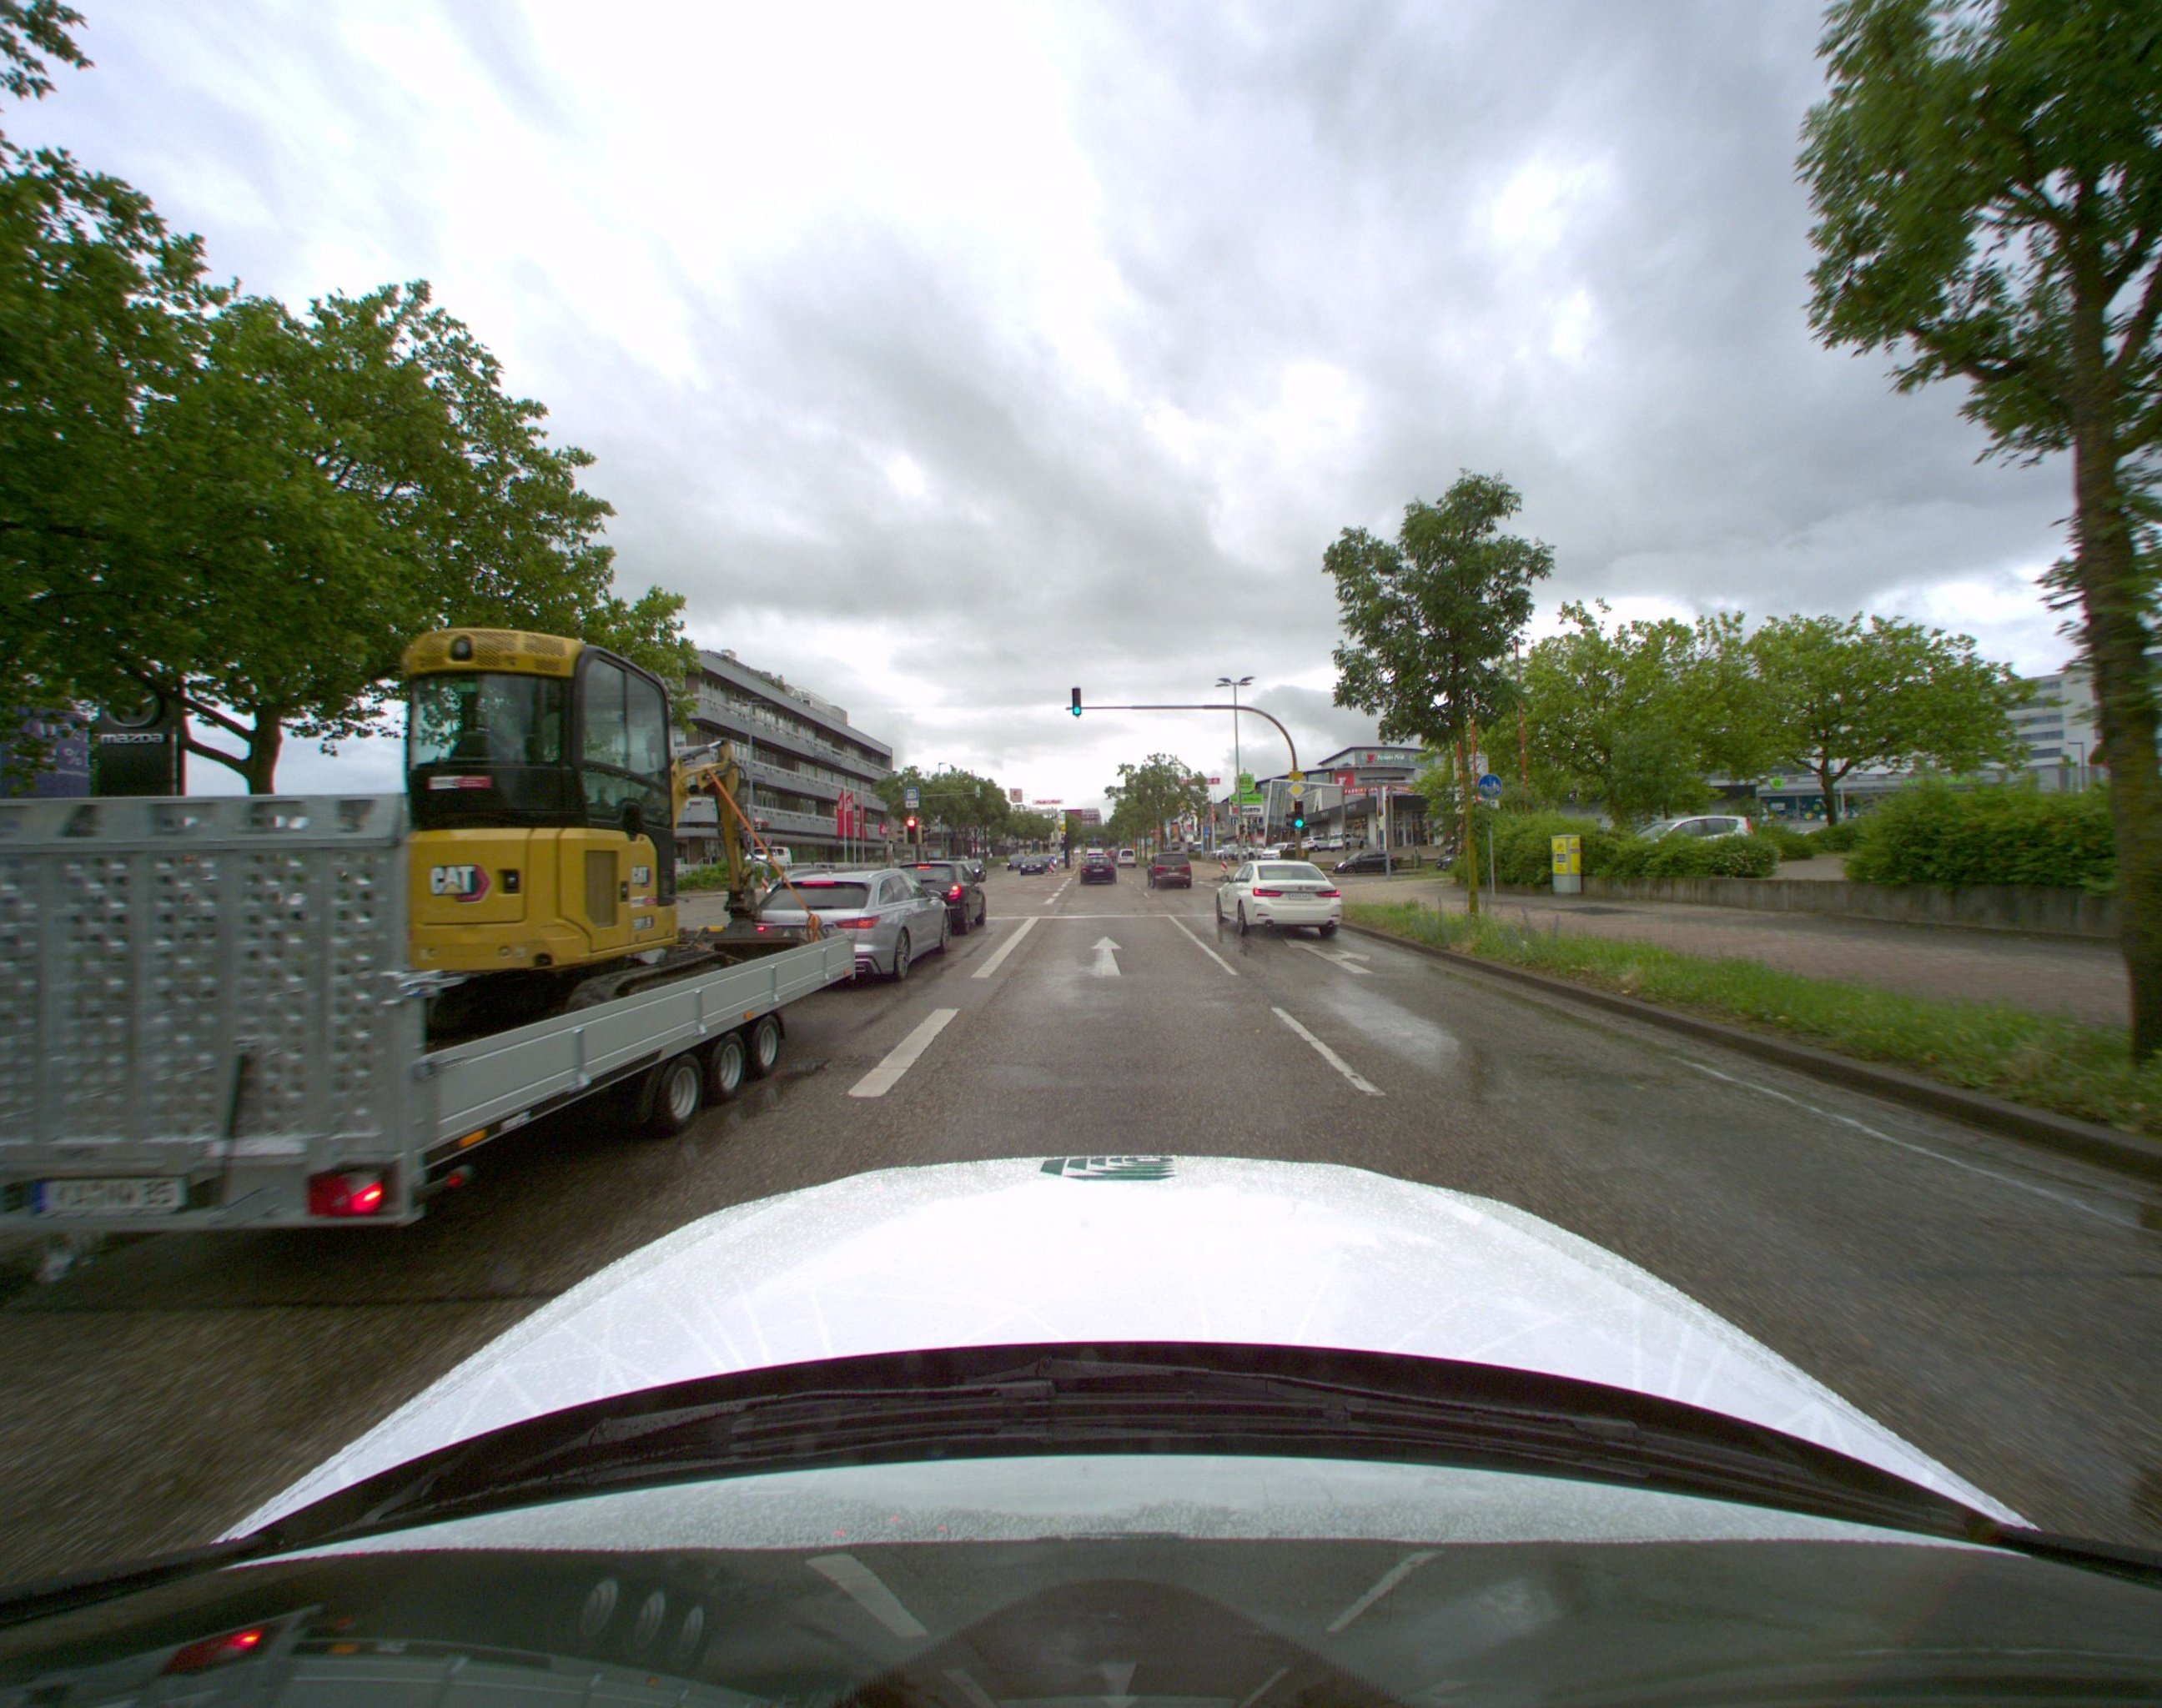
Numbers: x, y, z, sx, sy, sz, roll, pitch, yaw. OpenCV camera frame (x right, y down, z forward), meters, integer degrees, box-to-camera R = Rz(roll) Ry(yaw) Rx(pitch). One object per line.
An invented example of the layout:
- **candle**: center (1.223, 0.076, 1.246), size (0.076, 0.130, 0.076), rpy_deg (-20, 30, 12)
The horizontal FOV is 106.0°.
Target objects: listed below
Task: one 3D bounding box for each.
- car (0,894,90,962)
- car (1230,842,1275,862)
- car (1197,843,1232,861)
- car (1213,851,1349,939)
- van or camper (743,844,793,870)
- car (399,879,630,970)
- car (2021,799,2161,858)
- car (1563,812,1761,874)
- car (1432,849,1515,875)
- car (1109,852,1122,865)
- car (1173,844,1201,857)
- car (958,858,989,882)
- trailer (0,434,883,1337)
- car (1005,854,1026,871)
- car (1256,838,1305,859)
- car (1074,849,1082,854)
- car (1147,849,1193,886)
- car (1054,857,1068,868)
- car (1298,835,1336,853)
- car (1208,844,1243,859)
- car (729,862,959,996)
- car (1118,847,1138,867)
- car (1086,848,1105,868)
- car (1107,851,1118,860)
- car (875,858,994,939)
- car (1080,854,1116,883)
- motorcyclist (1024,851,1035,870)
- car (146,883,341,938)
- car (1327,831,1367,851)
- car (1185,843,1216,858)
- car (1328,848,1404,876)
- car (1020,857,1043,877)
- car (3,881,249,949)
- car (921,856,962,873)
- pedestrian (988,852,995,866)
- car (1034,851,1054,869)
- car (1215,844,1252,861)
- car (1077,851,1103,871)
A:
- **car**: center (-25.182, 1.703, 18.213), size (3.732, 1.391, 1.688), rpy_deg (-2, 0, -4)
- **car**: center (16.306, -0.184, 77.374), size (4.047, 1.662, 1.960), rpy_deg (-4, 1, -38)
- **car**: center (16.662, -0.205, 101.464), size (4.094, 2.105, 1.801), rpy_deg (-1, 0, 2)
- **car**: center (3.909, 0.744, 16.702), size (1.794, 1.544, 4.621), rpy_deg (0, 0, 2)
- **van or camper**: center (-24.243, 0.245, 63.267), size (1.986, 1.967, 4.789), rpy_deg (0, -1, 1)
- **car**: center (-11.216, 1.314, 16.554), size (1.705, 1.383, 4.173), rpy_deg (-4, 0, -1)
- **car**: center (28.283, -0.699, 21.729), size (3.970, 1.442, 2.002), rpy_deg (-2, 0, 3)
- **car**: center (15.232, -0.277, 21.516), size (3.970, 1.442, 1.657), rpy_deg (-2, 0, 3)
- **car**: center (23.354, 0.489, 48.552), size (4.119, 1.548, 1.741), rpy_deg (0, -1, 6)
- **car**: center (4.463, 0.600, 106.824), size (1.678, 1.684, 3.404), rpy_deg (0, -1, 2)
- **car**: center (15.676, -0.529, 120.862), size (4.089, 1.703, 1.803), rpy_deg (-1, 0, 7)
- **car**: center (-7.374, 1.067, 56.197), size (1.706, 1.580, 3.997), rpy_deg (-2, 0, -2)
- **trailer**: center (-3.247, 0.128, 5.429), size (2.365, 2.897, 5.545), rpy_deg (-2, -1, 0)
- **car**: center (-6.704, 0.876, 84.249), size (1.906, 1.608, 4.360), rpy_deg (-2, 0, -2)
- **car**: center (16.081, -0.456, 65.423), size (1.908, 1.576, 4.314), rpy_deg (-2, 0, 43)
- **car**: center (-0.671, -0.636, 211.885), size (1.936, 1.448, 4.000), rpy_deg (-1, 0, 1)
- **car**: center (3.975, 0.574, 36.910), size (1.794, 1.587, 4.453), rpy_deg (0, 0, 2)
- **car**: center (-2.777, 1.207, 115.805), size (1.717, 1.398, 4.790), rpy_deg (-4, 0, 1)
- **car**: center (24.937, -1.092, 86.128), size (4.174, 1.771, 1.718), rpy_deg (-2, 0, -38)
- **car**: center (16.141, -0.252, 90.832), size (3.617, 1.536, 1.776), rpy_deg (-3, 0, -38)
- **car**: center (-3.077, 0.886, 11.749), size (1.759, 1.458, 4.782), rpy_deg (-2, 0, 1)
- **car**: center (4.628, 0.268, 80.856), size (1.775, 1.866, 4.001), rpy_deg (-2, 0, 1)
- **car**: center (1.513, 0.418, 83.668), size (1.986, 2.014, 4.001), rpy_deg (0, -1, 1)
- **car**: center (5.263, 0.243, 136.018), size (1.689, 1.443, 3.992), rpy_deg (-2, 1, 2)
- **car**: center (-3.034, 0.868, 17.706), size (1.707, 1.489, 4.078), rpy_deg (-2, 0, 1)
- **car**: center (0.868, 0.738, 42.267), size (1.775, 1.398, 4.001), rpy_deg (-1, 0, 1)
- **motorcyclist**: center (-4.292, 0.570, 68.077), size (0.804, 1.559, 1.267), rpy_deg (-1, 0, -1)
- **car**: center (-24.210, 1.608, 23.653), size (3.732, 1.294, 1.688), rpy_deg (-3, 0, -4)
- **car**: center (24.998, -1.219, 76.452), size (4.177, 1.771, 1.717), rpy_deg (-2, 0, -42)
- **car**: center (16.486, -0.436, 112.636), size (4.094, 1.904, 1.801), rpy_deg (-2, 0, 2)
- **car**: center (17.170, 0.500, 49.197), size (3.965, 1.489, 1.818), rpy_deg (-3, -1, 1)
- **car**: center (-3.817, 0.991, 63.457), size (1.678, 1.377, 3.997), rpy_deg (-2, 0, -2)
- **car**: center (-24.679, 1.542, 21.183), size (3.971, 1.489, 1.877), rpy_deg (-2, 0, -4)
- **car**: center (-14.553, 1.121, 84.706), size (3.948, 1.552, 1.912), rpy_deg (-2, 0, 36)
- **pedestrian**: center (-14.015, 0.779, 127.546), size (0.856, 2.218, 0.845), rpy_deg (-1, 0, -2)
- **car**: center (-3.272, 0.550, 72.851), size (1.740, 1.489, 4.825), rpy_deg (-2, -1, -2)
- **car**: center (15.582, -0.145, 83.136), size (3.616, 1.536, 1.625), rpy_deg (-2, 0, -38)
- **car**: center (0.605, 0.483, 59.128), size (1.678, 1.377, 3.997), rpy_deg (-2, 0, -2)
